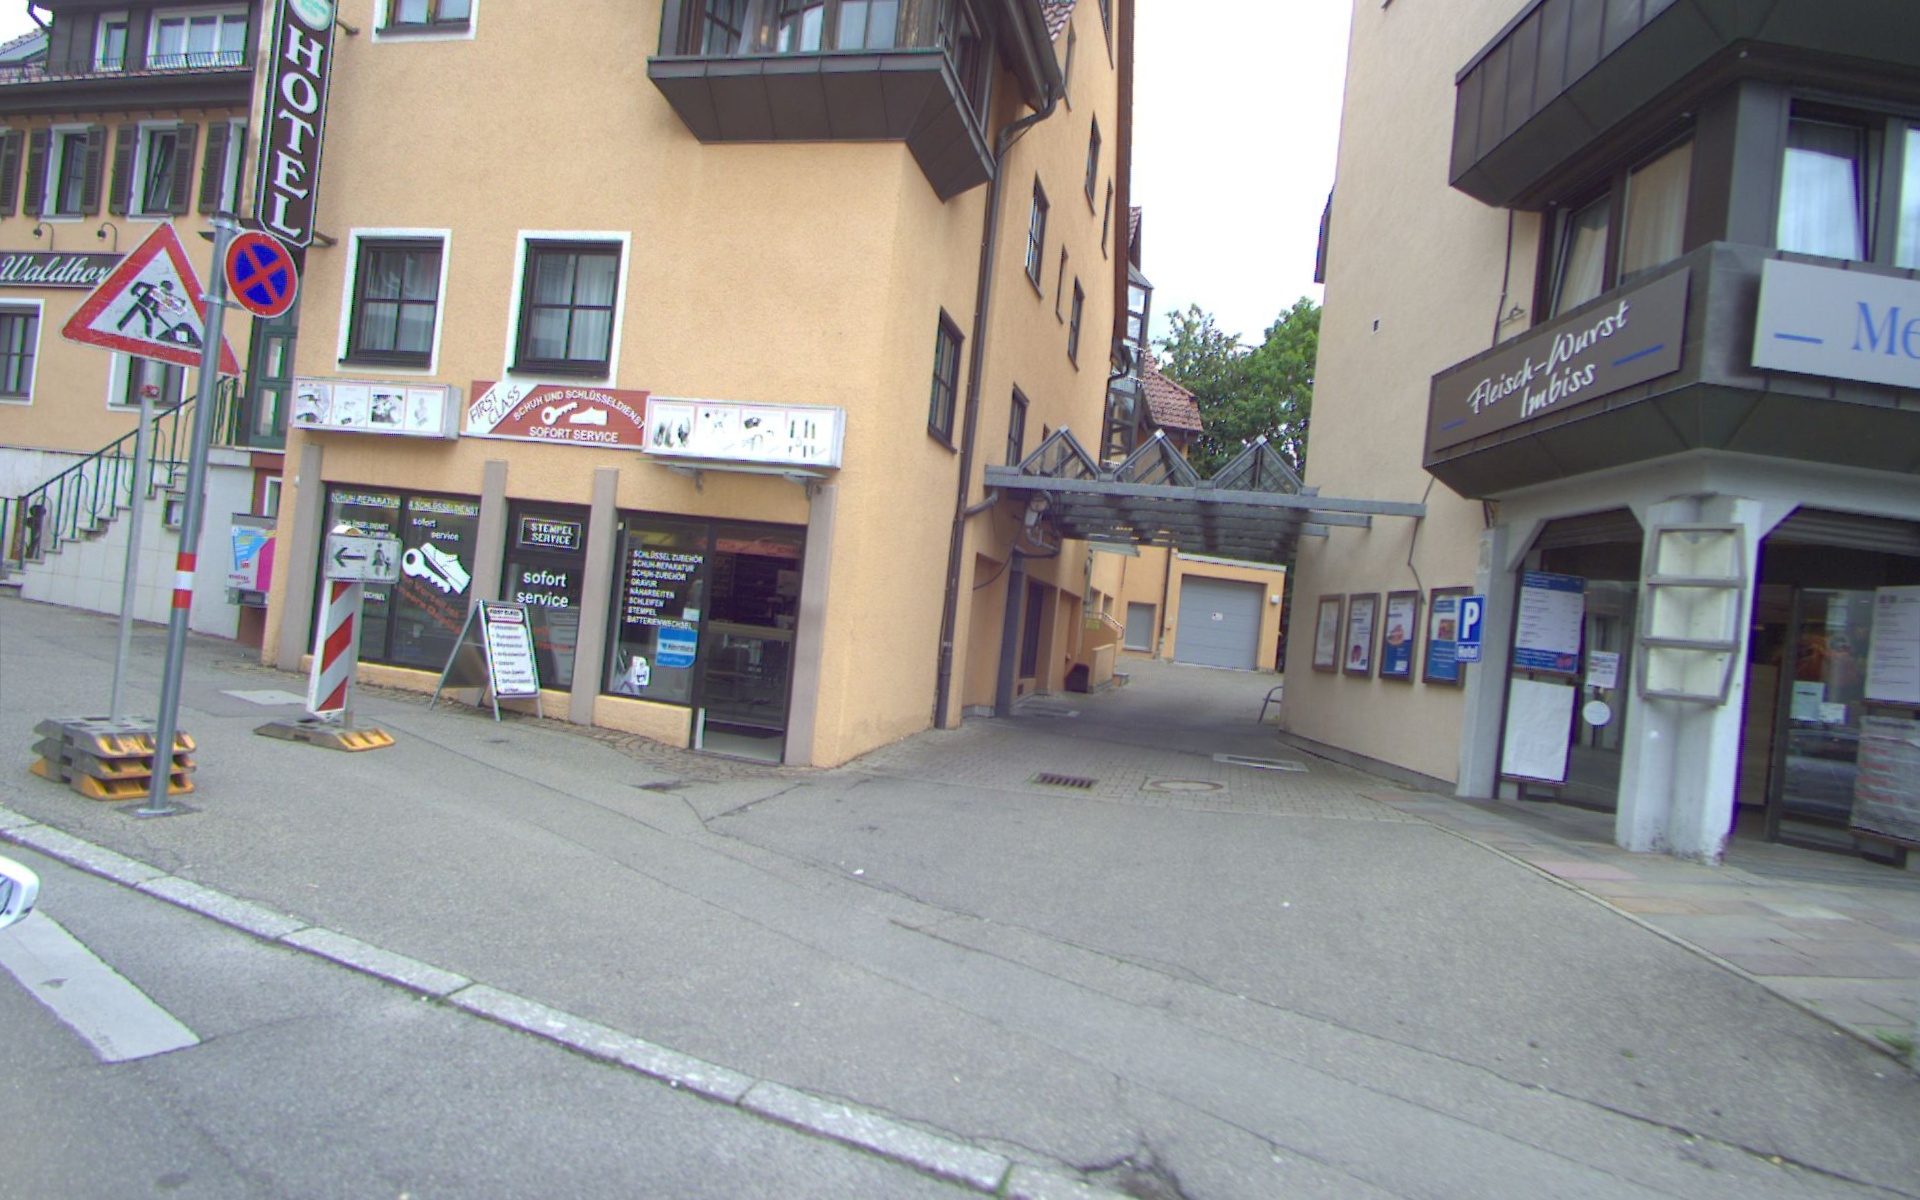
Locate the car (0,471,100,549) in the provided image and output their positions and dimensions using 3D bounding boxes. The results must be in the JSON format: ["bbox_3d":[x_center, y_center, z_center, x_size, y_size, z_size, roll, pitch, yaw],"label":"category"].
[{"bbox_3d":[-29.102,-2.853,30.430,4.178,2.058,1.986,7,-1,-28],"label":"car"}]

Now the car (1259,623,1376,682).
[{"bbox_3d":[11.332,1.627,32.187,1.964,1.415,3.997,7,0,-4],"label":"car"}]
